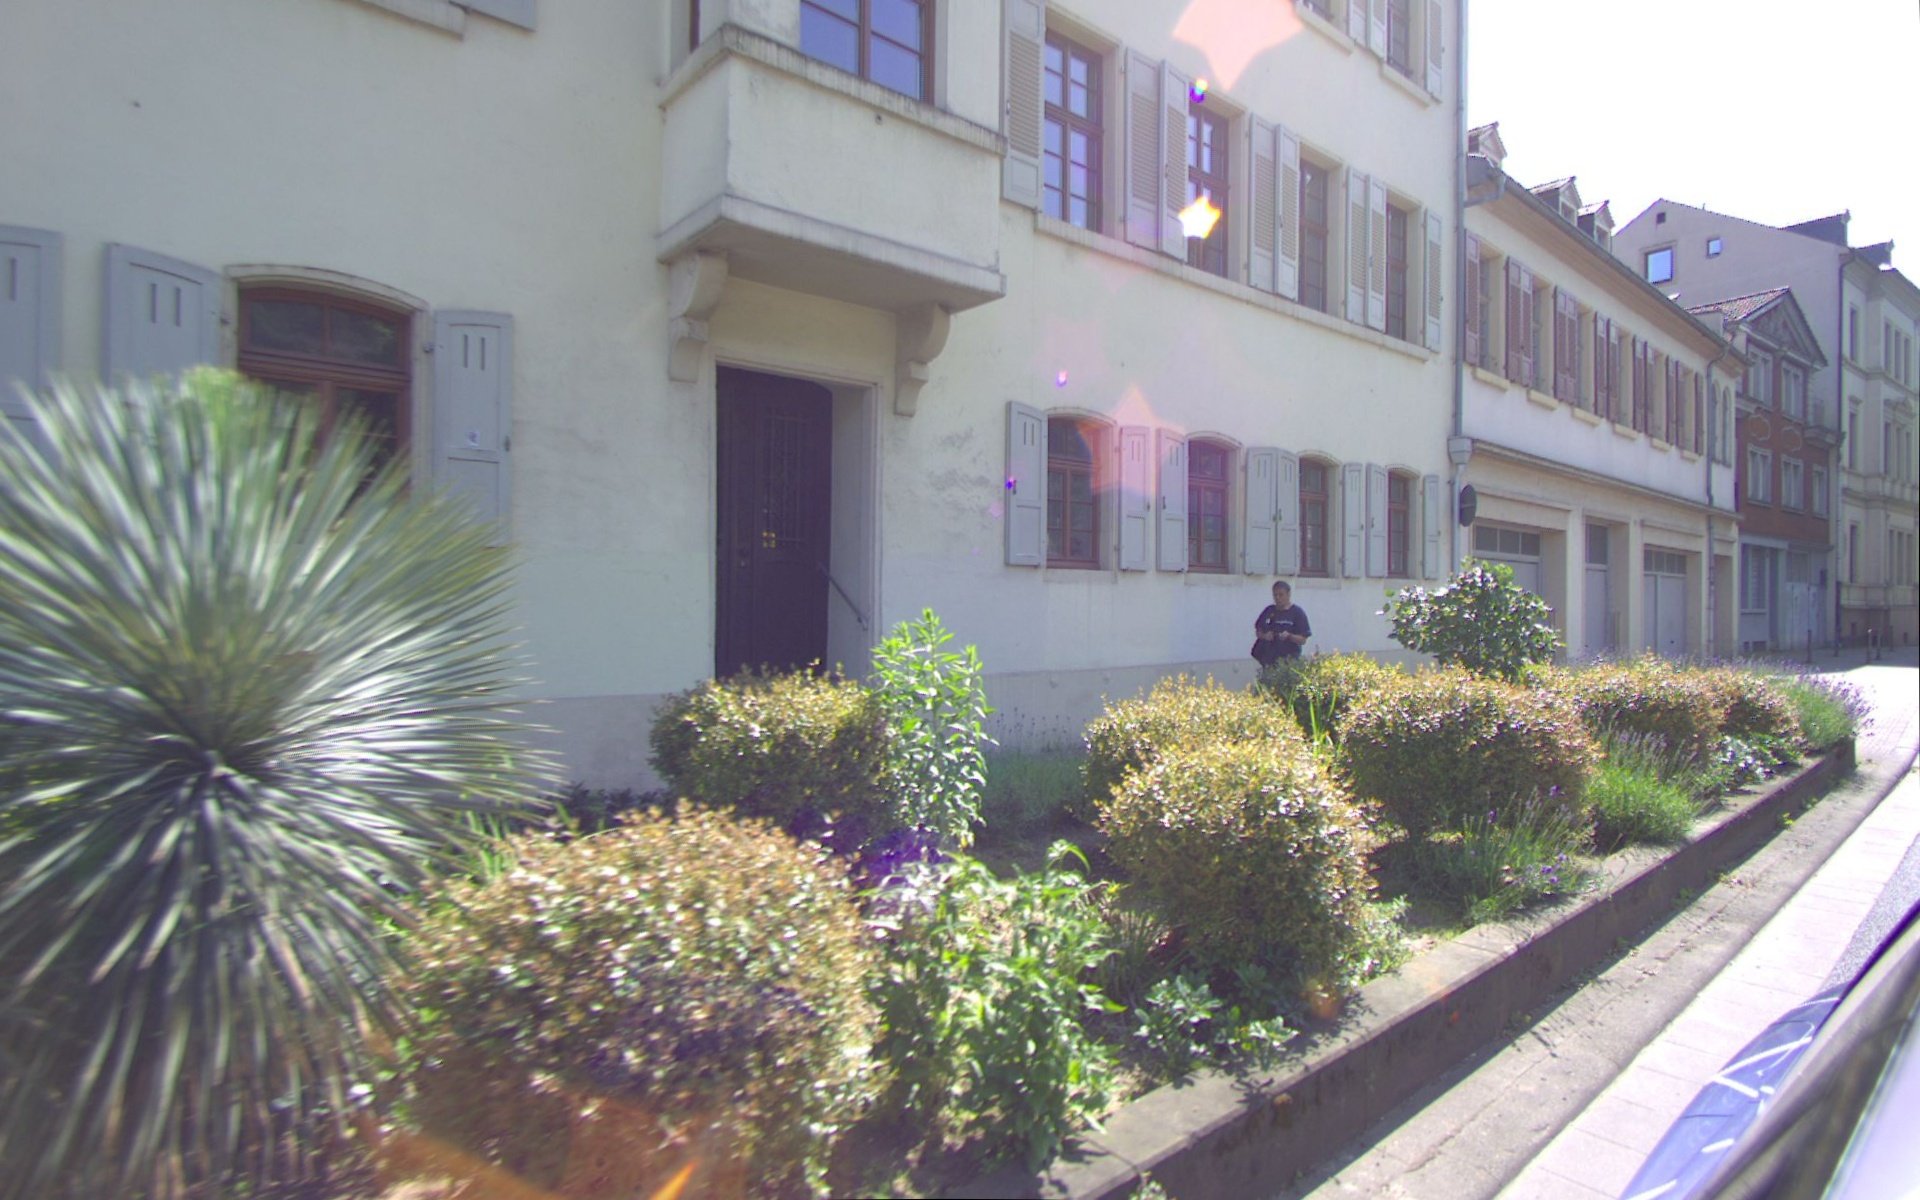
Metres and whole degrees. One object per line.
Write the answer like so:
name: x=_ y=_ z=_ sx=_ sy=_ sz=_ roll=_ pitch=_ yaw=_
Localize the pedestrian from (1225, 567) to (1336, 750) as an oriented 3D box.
pedestrian: x=3.246 y=0.557 z=10.274 sx=0.684 sy=1.734 sz=0.763 roll=0 pitch=3 yaw=-41
